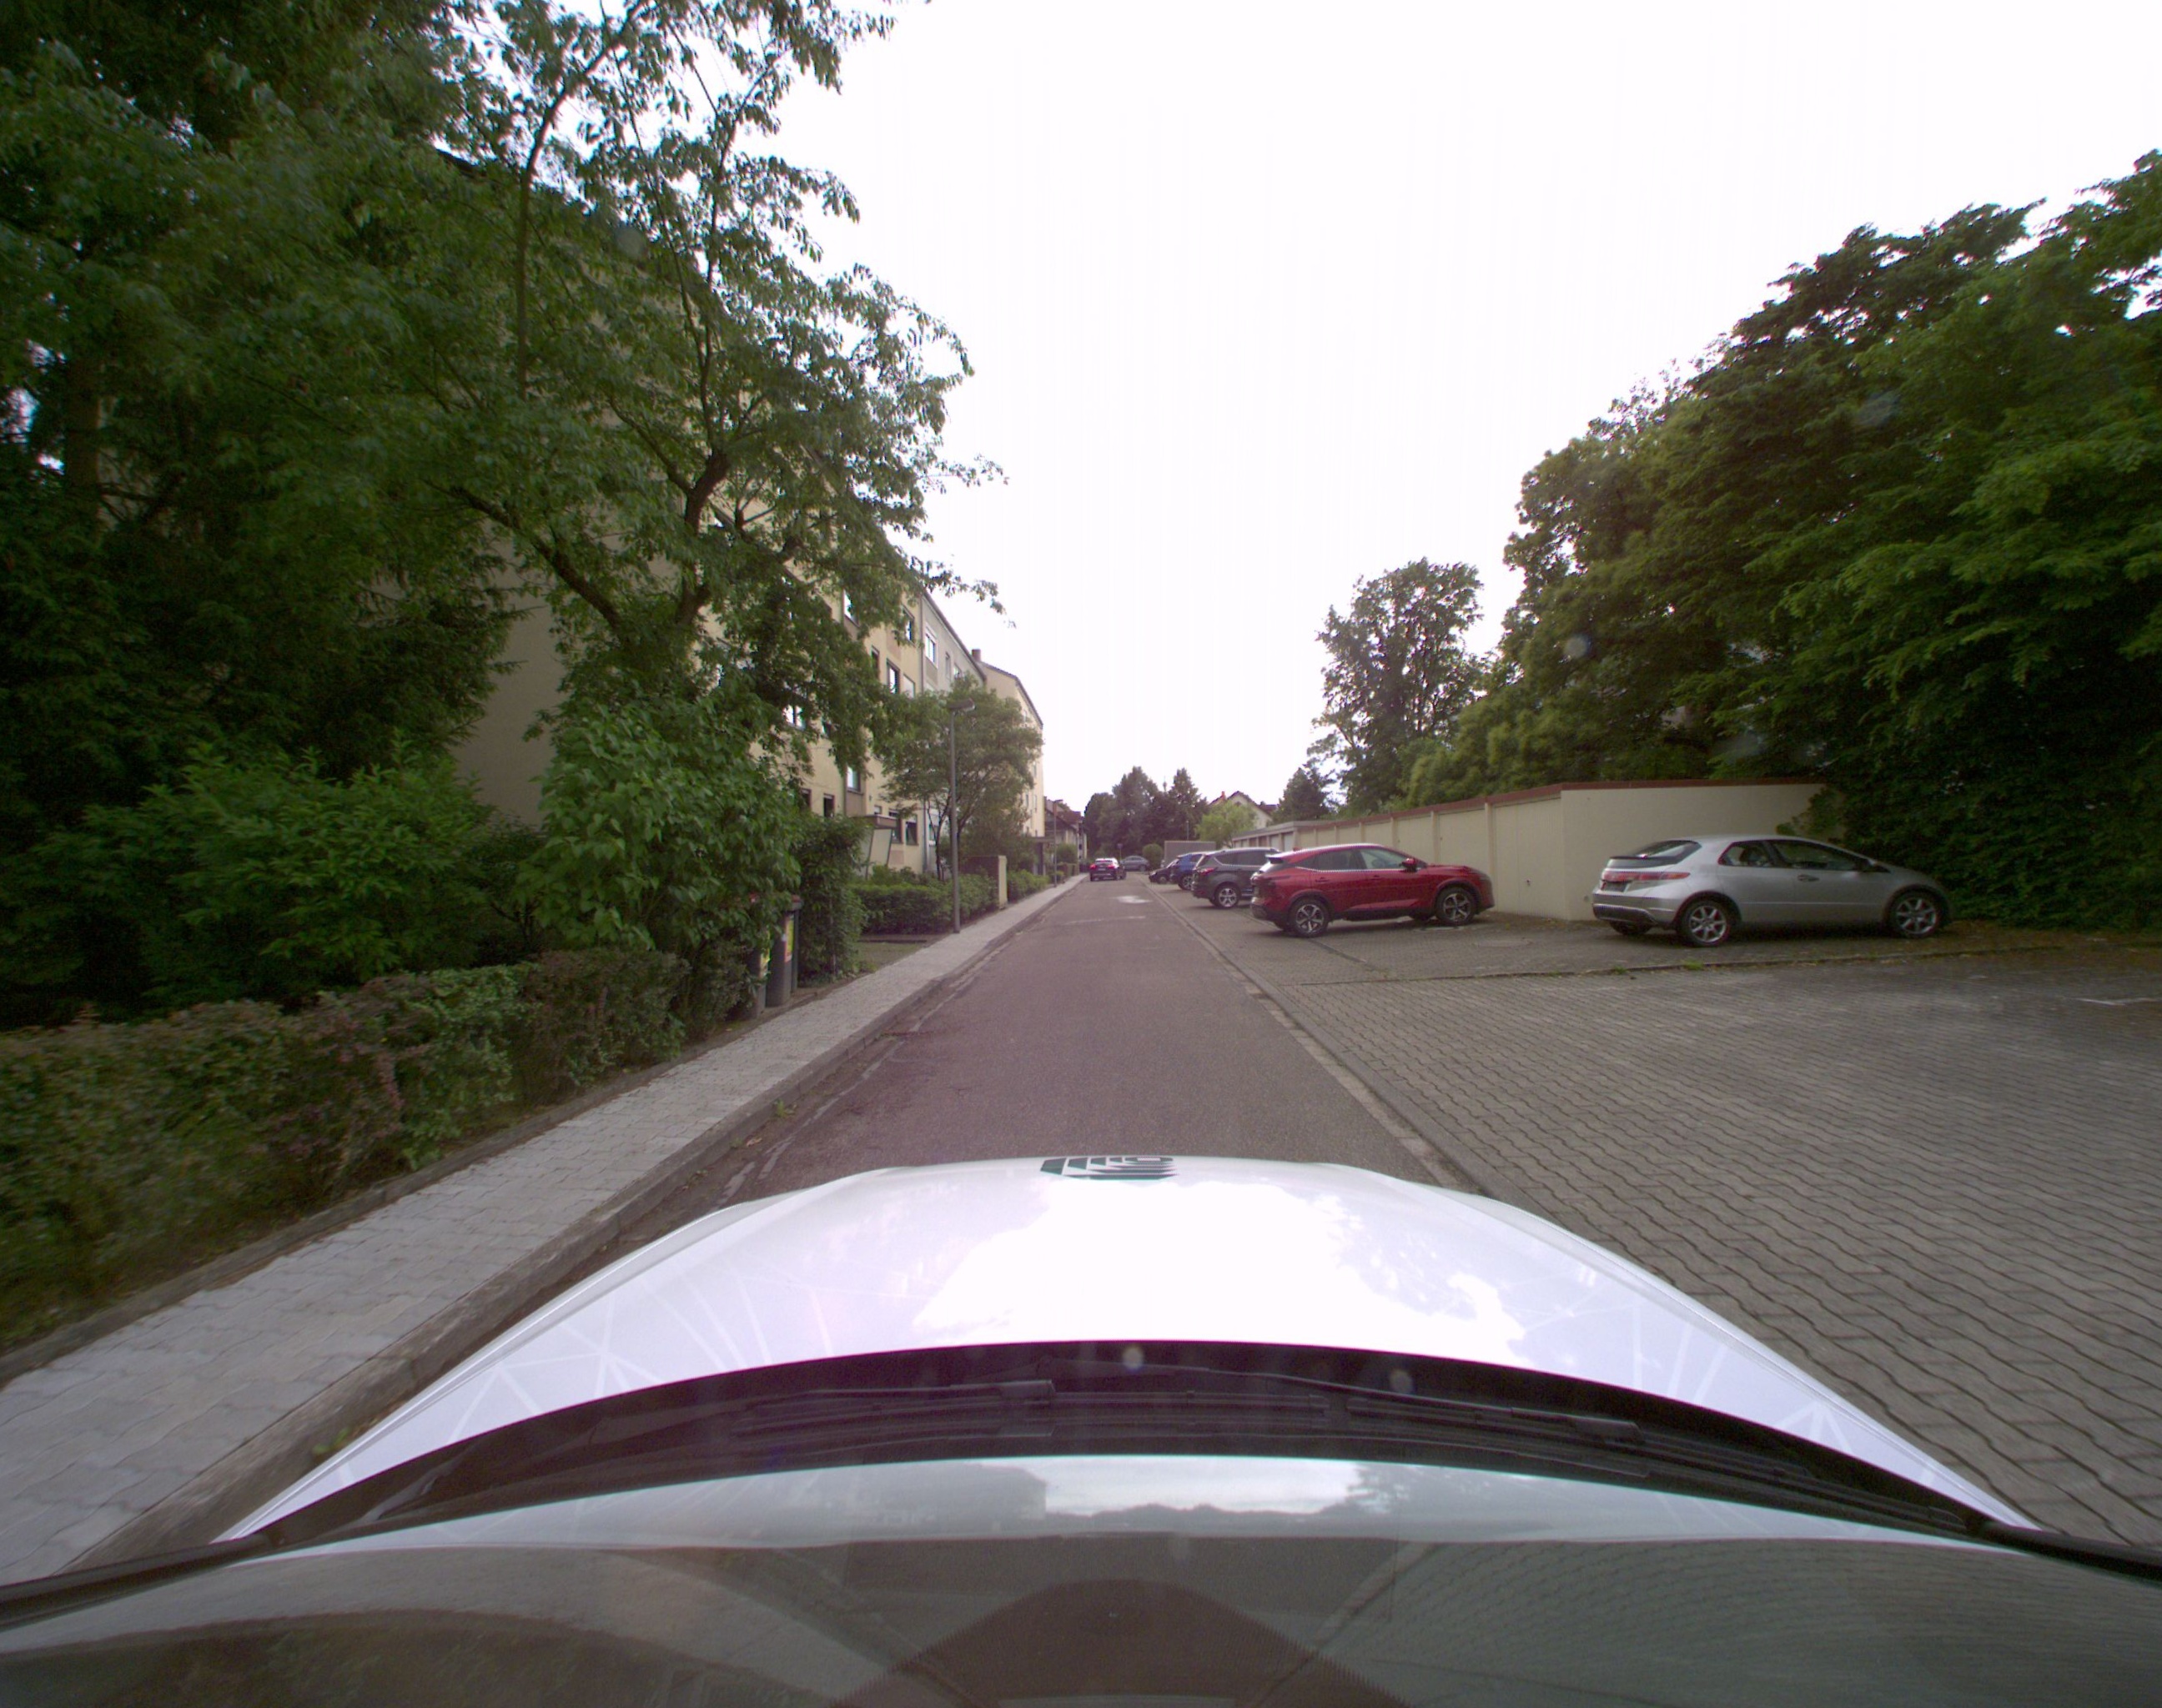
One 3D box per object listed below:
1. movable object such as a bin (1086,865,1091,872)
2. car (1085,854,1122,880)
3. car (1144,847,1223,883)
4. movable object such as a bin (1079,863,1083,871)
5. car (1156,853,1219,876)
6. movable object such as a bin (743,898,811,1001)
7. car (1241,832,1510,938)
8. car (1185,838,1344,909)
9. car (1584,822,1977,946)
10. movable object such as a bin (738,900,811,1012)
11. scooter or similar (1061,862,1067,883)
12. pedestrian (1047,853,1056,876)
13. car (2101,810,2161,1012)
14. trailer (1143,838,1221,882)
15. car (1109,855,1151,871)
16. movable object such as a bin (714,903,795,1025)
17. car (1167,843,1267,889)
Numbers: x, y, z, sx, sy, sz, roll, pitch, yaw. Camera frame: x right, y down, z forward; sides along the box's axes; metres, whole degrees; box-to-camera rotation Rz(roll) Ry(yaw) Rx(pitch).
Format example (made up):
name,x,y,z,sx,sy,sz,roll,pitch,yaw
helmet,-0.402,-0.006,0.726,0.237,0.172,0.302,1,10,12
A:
name,x,y,z,sx,sy,sz,roll,pitch,yaw
movable object such as a bin,0.820,1.532,87.659,0.458,0.797,0.379,0,-1,-1
car,1.522,0.862,54.435,1.983,1.552,4.008,-3,0,7
car,5.895,0.646,47.439,4.295,1.802,2.000,-4,0,1
movable object such as a bin,0.003,1.388,87.502,0.384,0.890,0.379,0,-1,-1
car,7.919,0.762,60.712,4.517,1.588,1.990,-2,0,3
movable object such as a bin,-3.299,1.017,8.877,0.596,1.022,0.534,-4,0,-18
car,5.346,0.548,15.224,4.273,1.586,1.935,-4,0,1
car,5.279,0.548,23.899,4.180,1.727,2.001,-4,0,1
car,9.336,0.385,11.136,3.809,1.447,1.714,-2,0,3
movable object such as a bin,-3.073,1.006,8.214,0.596,1.022,0.534,-4,0,-18
scooter or similar,-1.004,1.095,47.674,0.272,1.211,1.165,-2,0,1
pedestrian,-2.204,0.793,61.302,0.677,1.749,0.756,0,-1,-1
car,10.484,0.315,5.592,4.559,1.530,1.867,-3,0,0
trailer,6.176,0.363,50.088,4.591,2.525,1.944,-1,-1,2
car,5.041,0.900,83.779,4.221,1.531,1.747,-1,-3,1
movable object such as a bin,-3.037,1.007,7.618,0.596,1.022,0.534,-4,0,-18
car,5.872,0.528,35.500,3.973,1.703,2.001,-4,0,1
